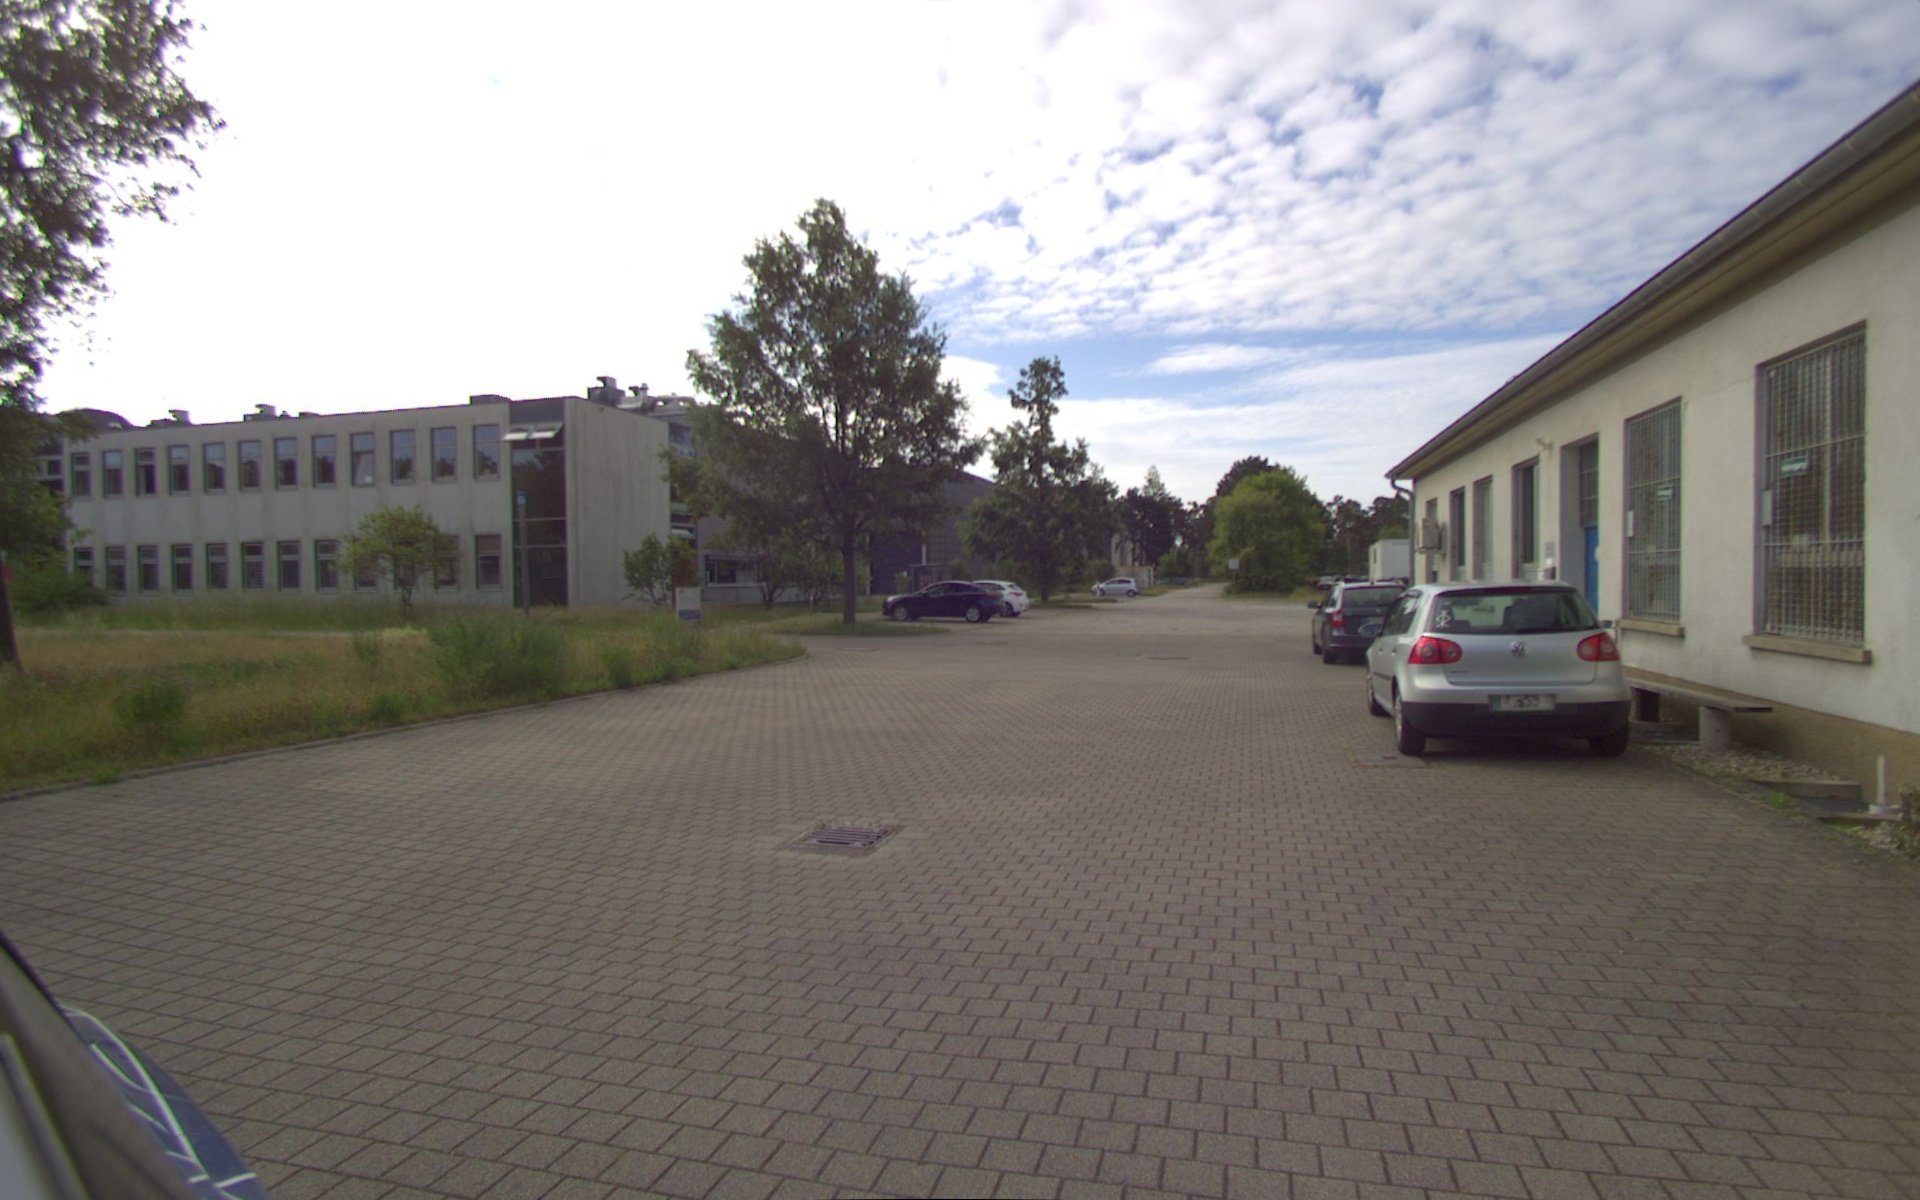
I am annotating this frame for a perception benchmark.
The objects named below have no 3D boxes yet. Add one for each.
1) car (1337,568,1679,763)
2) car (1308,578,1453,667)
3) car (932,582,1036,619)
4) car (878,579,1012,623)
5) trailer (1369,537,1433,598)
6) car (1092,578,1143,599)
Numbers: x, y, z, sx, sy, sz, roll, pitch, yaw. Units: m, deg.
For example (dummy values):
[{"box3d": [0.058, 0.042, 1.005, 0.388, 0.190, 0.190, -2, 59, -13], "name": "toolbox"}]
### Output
[{"box3d": [4.945, 0.481, 9.872, 1.913, 1.450, 4.347, -2, 0, 15], "name": "car"}, {"box3d": [7.797, 0.329, 19.217, 1.913, 1.472, 4.788, 0, 1, 15], "name": "car"}, {"box3d": [0.992, -0.012, 41.571, 3.954, 1.477, 1.873, 0, 1, 17], "name": "car"}, {"box3d": [-0.524, 0.015, 36.430, 4.439, 1.458, 1.934, 1, 1, 17], "name": "car"}, {"box3d": [28.941, -2.059, 66.883, 2.855, 3.689, 10.713, 0, 1, 18], "name": "trailer"}, {"box3d": [13.363, -0.971, 85.838, 4.095, 1.636, 1.930, 1, 2, 14], "name": "car"}]
